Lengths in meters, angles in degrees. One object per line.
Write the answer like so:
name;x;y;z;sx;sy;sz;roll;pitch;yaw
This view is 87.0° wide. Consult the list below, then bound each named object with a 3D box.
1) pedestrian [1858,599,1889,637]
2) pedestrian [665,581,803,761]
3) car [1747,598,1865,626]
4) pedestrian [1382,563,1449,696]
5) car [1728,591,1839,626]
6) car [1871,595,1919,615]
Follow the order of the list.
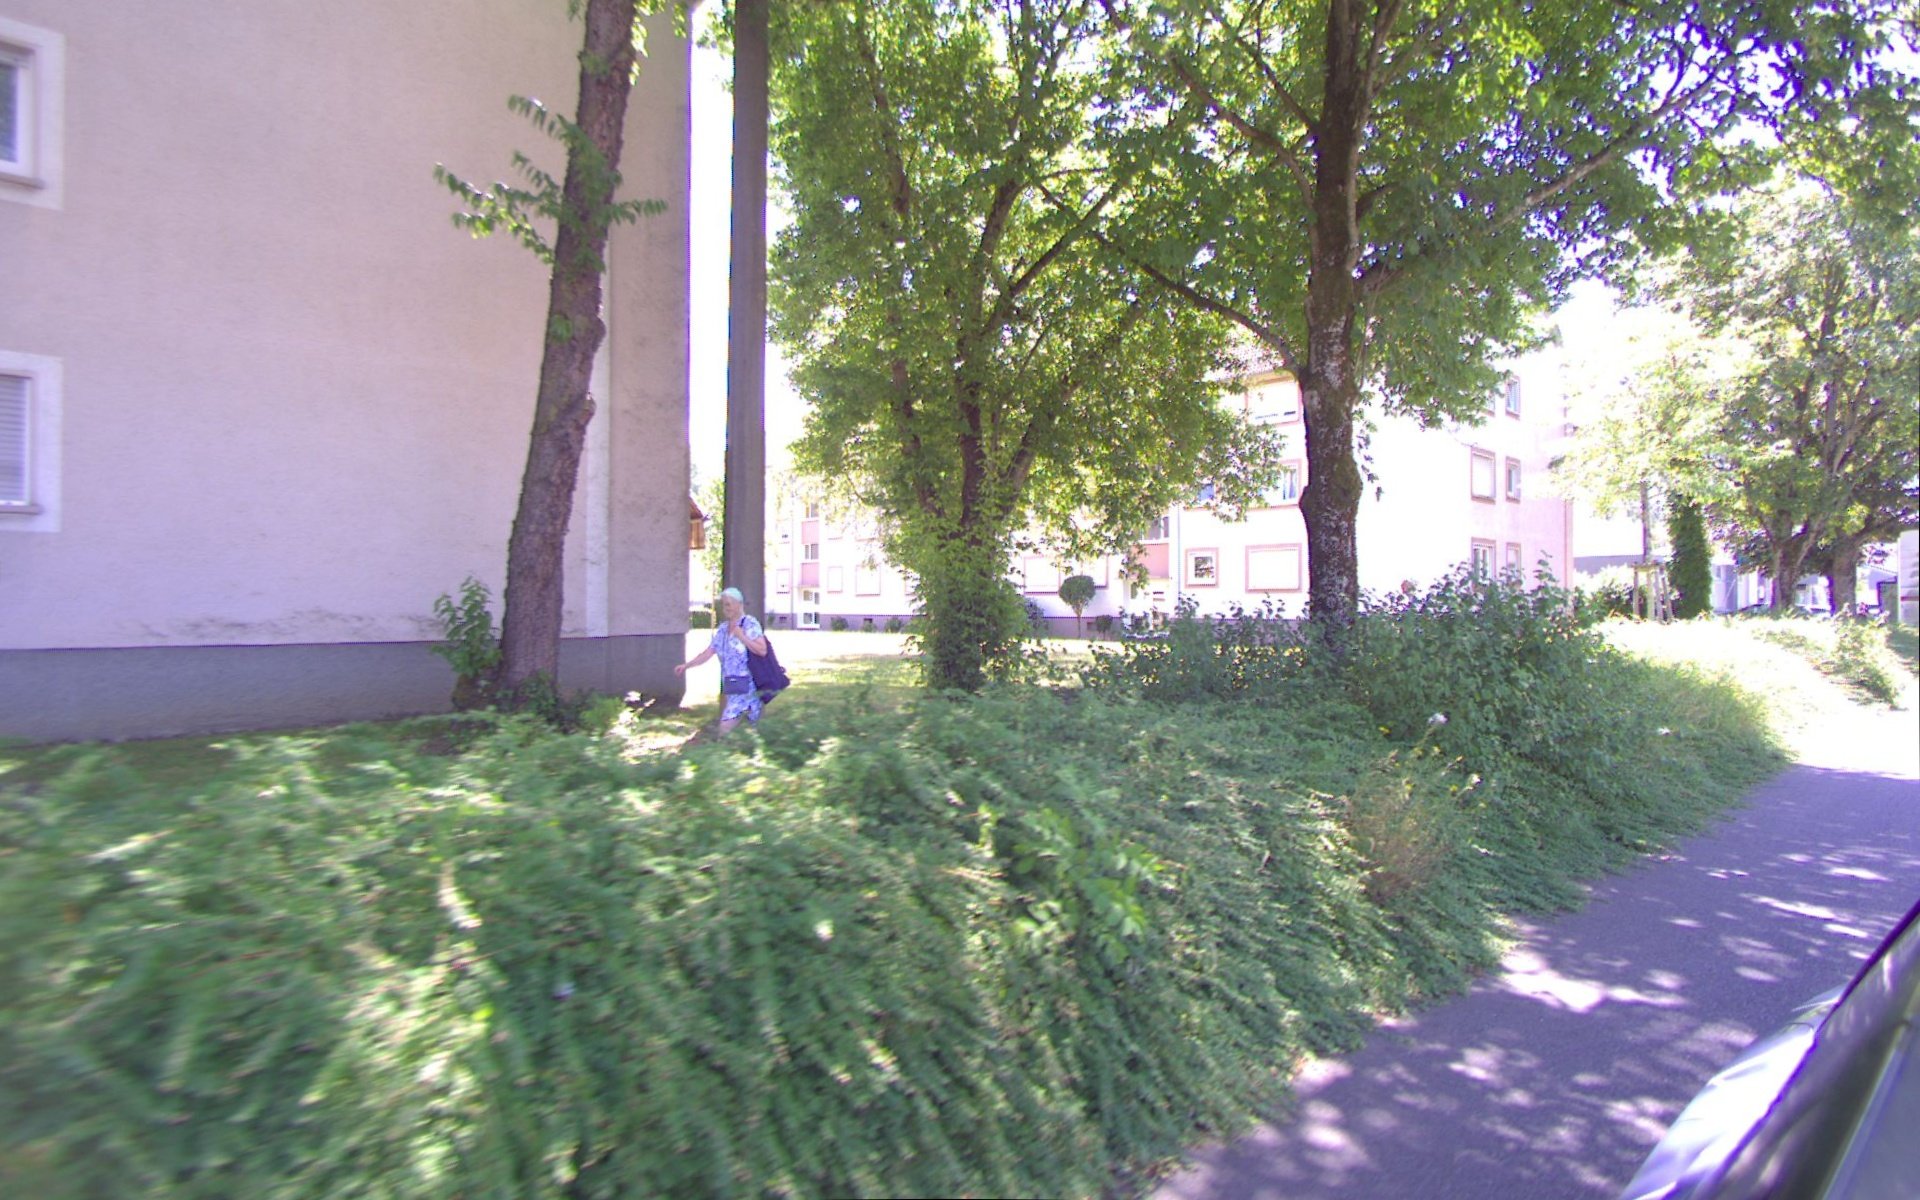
pedestrian;41.019;0.800;45.435;0.991;1.662;0.842;0;0;-36
pedestrian;-1.815;0.529;8.139;0.873;1.351;0.663;0;0;-41
car;43.624;0.582;52.327;4.315;1.388;1.937;0;0;27
pedestrian;6.841;0.429;15.206;0.648;1.938;0.705;0;0;-38
car;40.709;0.398;50.092;1.766;1.569;3.995;0;2;-41
car;74.181;0.386;79.135;1.768;1.479;4.007;0;1;-25
